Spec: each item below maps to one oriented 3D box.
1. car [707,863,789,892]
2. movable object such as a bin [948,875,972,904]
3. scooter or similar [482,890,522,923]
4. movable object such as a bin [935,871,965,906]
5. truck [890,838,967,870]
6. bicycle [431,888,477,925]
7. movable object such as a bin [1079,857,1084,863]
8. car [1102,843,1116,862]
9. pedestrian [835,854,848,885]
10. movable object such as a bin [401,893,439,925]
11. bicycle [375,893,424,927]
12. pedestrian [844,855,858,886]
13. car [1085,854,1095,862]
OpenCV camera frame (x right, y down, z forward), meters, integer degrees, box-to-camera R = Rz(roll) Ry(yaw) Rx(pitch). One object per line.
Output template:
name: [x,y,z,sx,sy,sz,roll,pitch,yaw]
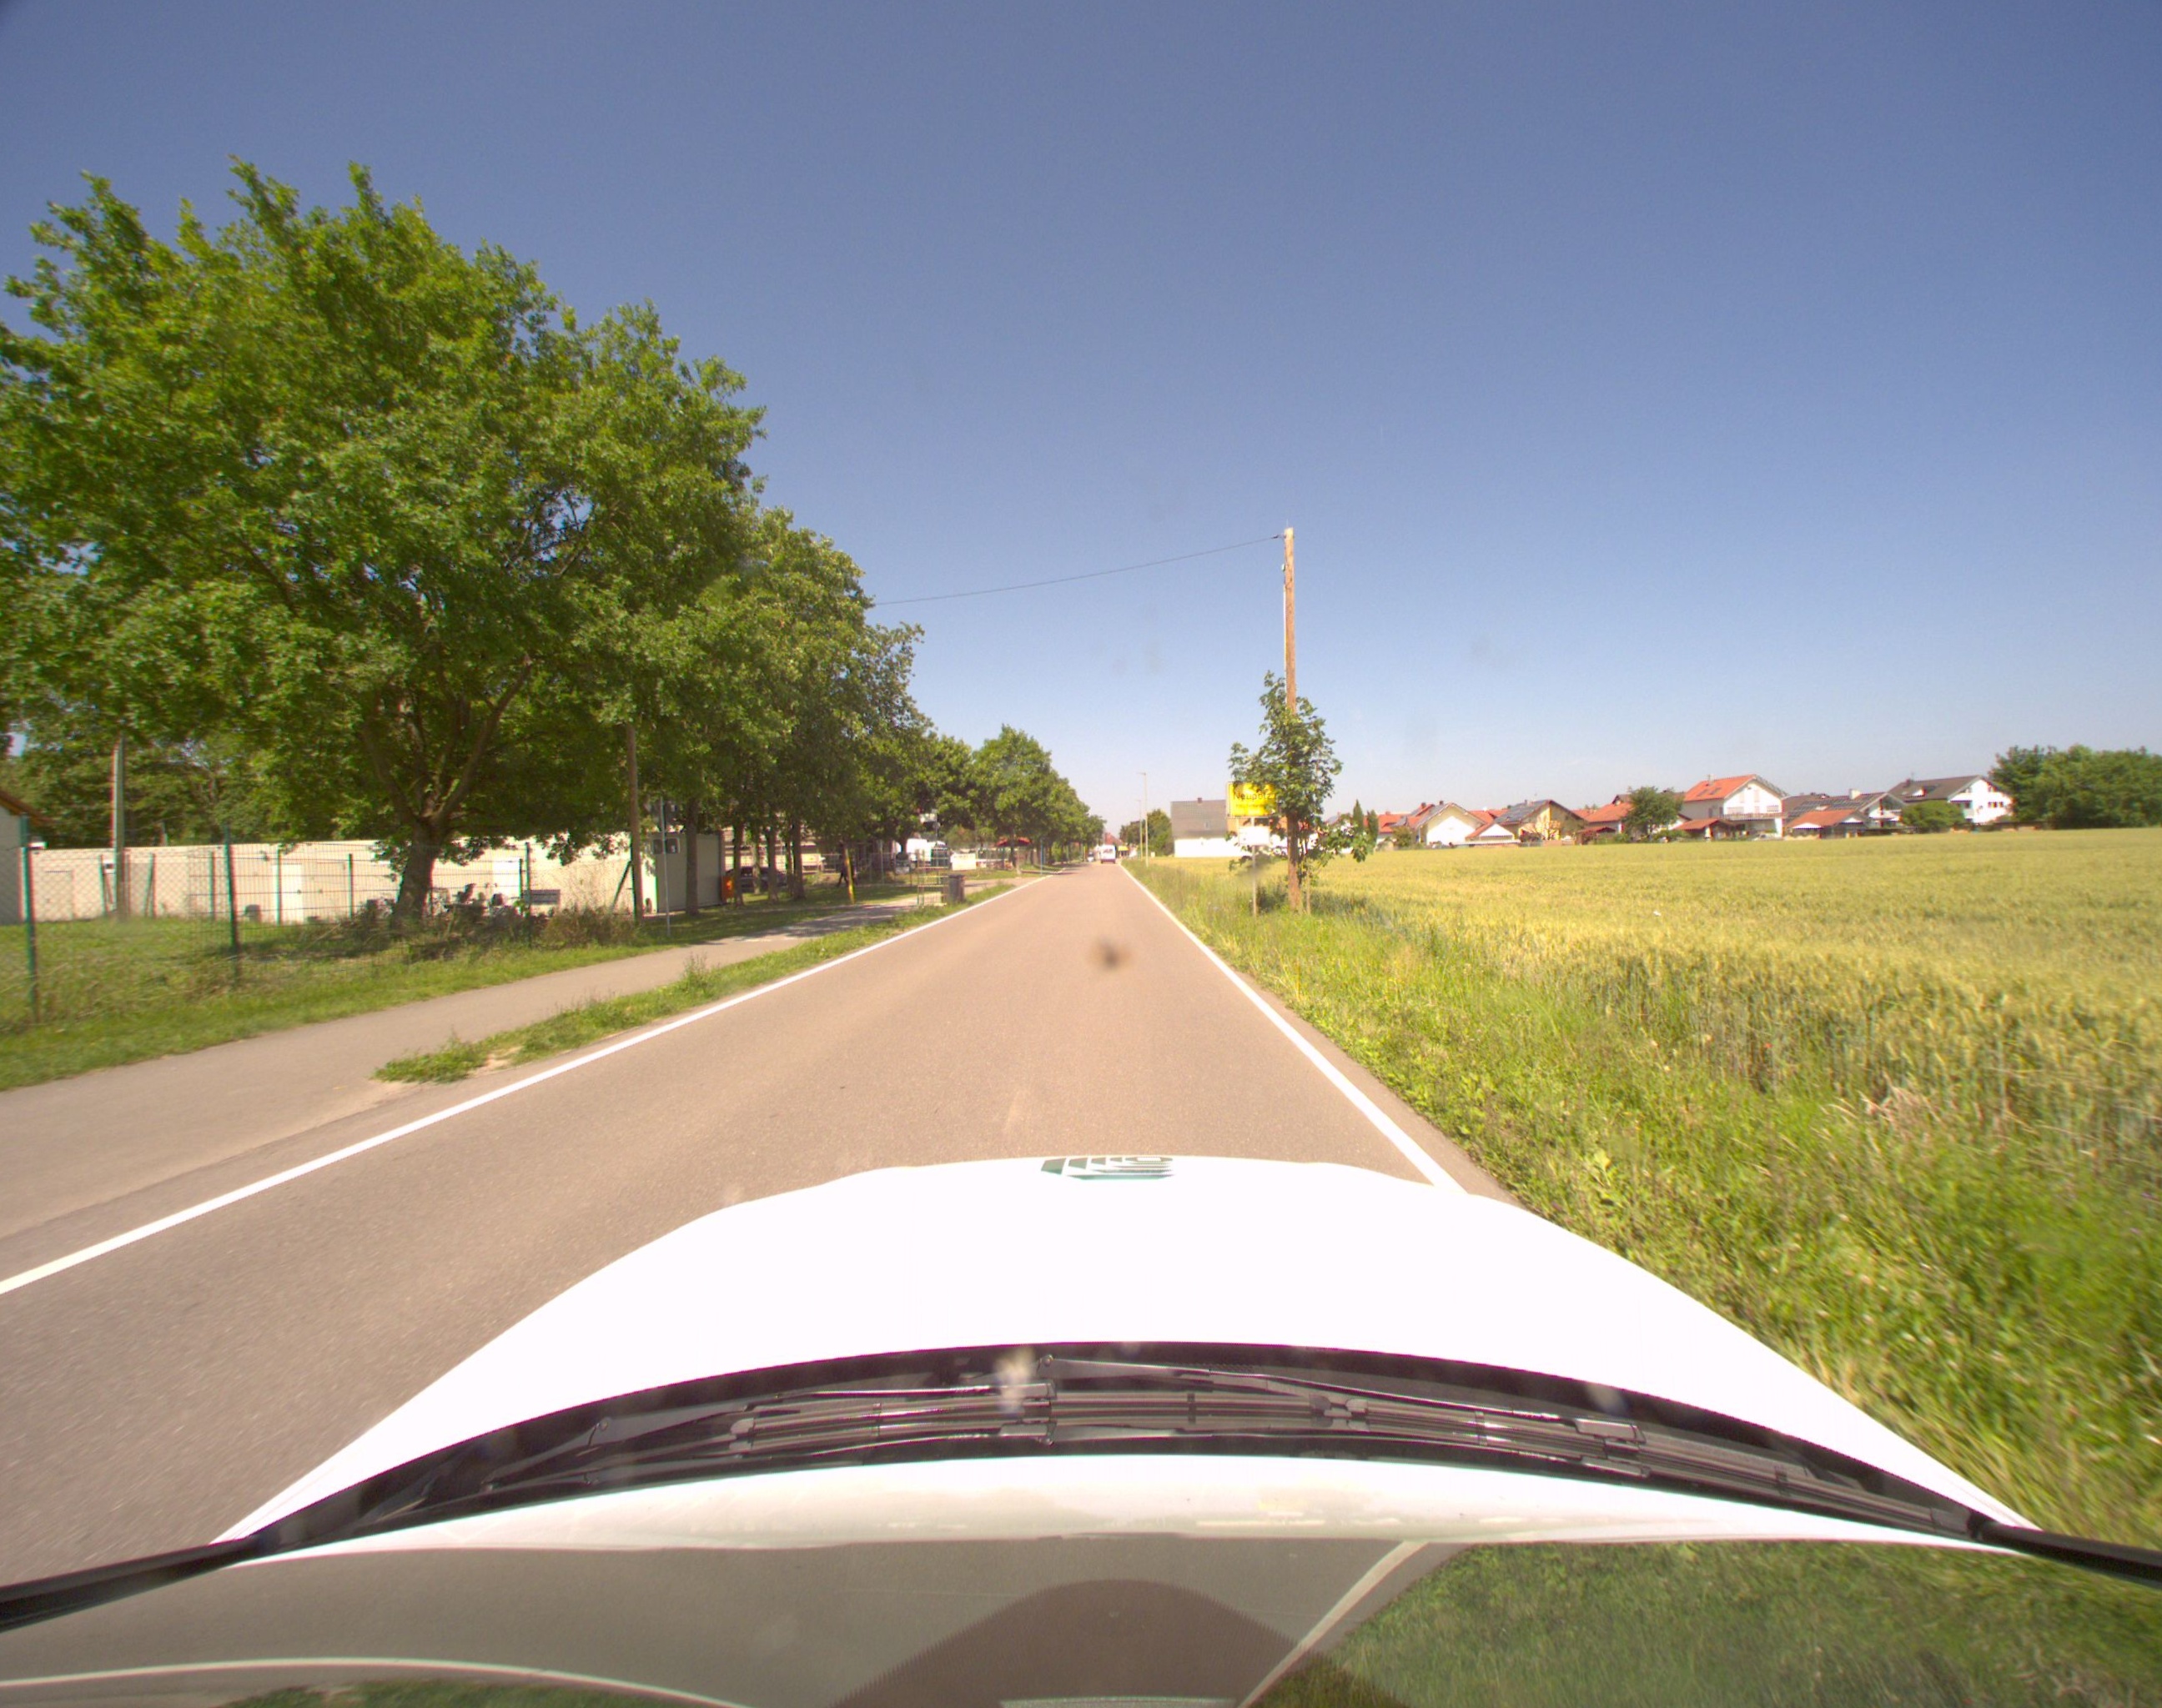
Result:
car: [-18.324,1.281,44.929,3.795,1.399,1.755,-2,0,-6]
movable object such as a bin: [-3.863,1.133,26.040,0.559,0.877,0.615,-2,0,9]
scooter or similar: [-19.075,1.719,26.838,0.892,0.997,0.533,-2,0,-4]
movable object such as a bin: [-4.060,1.060,25.259,0.694,1.024,0.750,-2,0,9]
truck: [-12.450,0.015,66.696,5.957,2.484,1.978,-1,-1,-35]
bicycle: [-21.822,1.811,28.350,1.236,1.213,0.423,-2,0,-1]
movable object such as a bin: [0.104,1.069,145.965,0.706,1.079,0.643,-2,-1,29]
car: [3.799,-0.171,111.402,1.730,2.432,4.378,-2,0,3]
pedestrian: [-13.742,0.898,46.752,0.603,1.751,0.585,-2,0,-8]
movable object such as a bin: [-21.948,1.822,27.057,0.692,1.013,0.663,-2,0,-2]
bicycle: [-23.471,1.938,28.051,1.236,1.082,0.506,-2,0,0]
pedestrian: [-13.394,0.949,47.407,0.603,1.751,0.585,-2,0,-8]
car: [1.685,0.697,151.344,1.641,1.423,4.082,-4,0,2]
